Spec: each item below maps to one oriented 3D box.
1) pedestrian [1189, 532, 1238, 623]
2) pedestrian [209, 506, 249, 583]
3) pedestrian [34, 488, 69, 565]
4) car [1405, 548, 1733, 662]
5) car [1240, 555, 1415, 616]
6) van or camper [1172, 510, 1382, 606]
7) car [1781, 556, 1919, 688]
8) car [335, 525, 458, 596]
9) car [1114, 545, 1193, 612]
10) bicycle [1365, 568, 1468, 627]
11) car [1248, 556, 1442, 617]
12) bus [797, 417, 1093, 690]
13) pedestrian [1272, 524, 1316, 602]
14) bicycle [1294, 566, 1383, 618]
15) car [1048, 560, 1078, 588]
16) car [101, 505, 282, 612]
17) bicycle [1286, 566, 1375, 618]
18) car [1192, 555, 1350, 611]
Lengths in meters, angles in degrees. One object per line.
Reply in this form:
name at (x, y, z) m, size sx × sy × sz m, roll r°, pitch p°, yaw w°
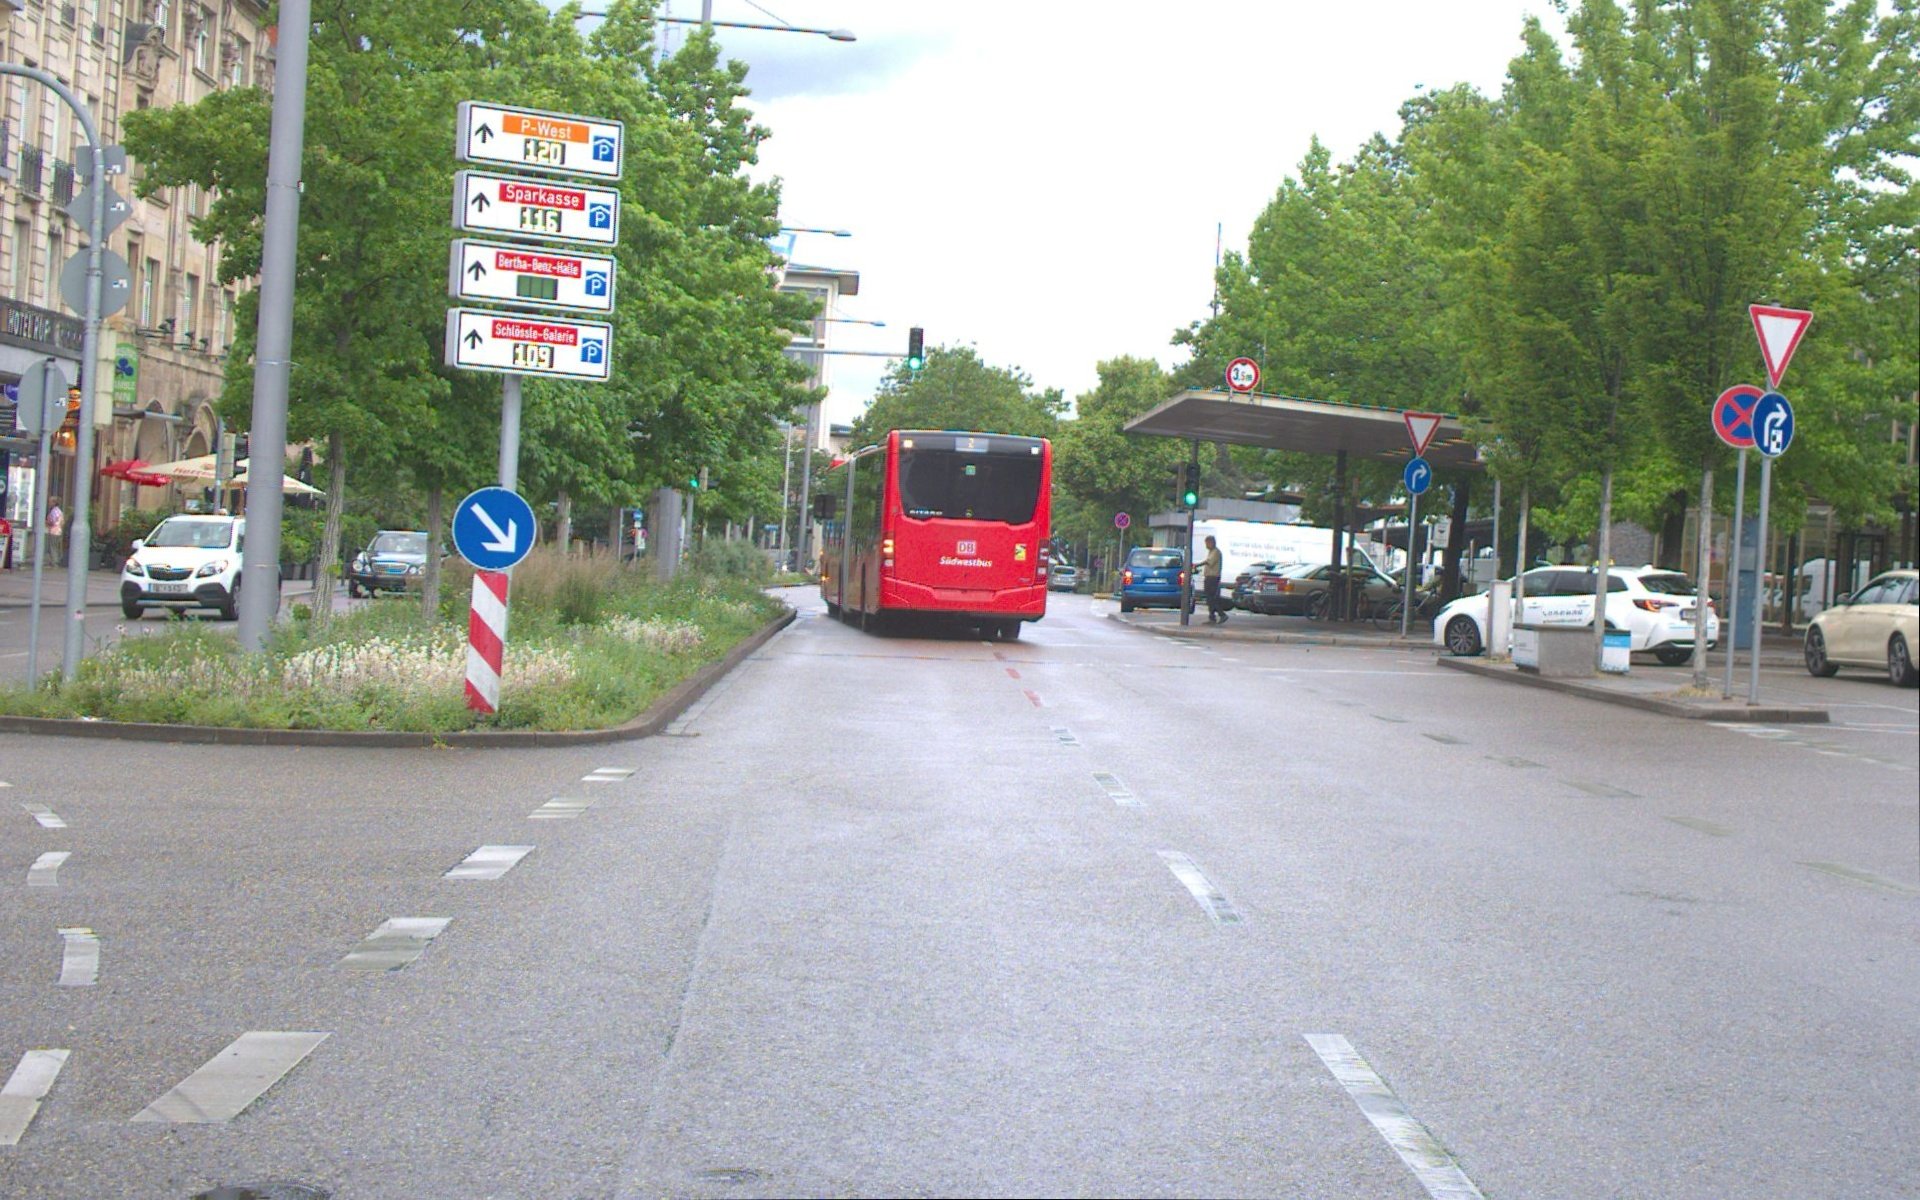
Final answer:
pedestrian at (4.925, -0.434, 66.878) m, size 0.746 × 1.741 × 0.836 m, roll 2°, pitch 0°, yaw -9°
pedestrian at (-15.898, -1.202, 74.772) m, size 0.681 × 1.658 × 0.807 m, roll 1°, pitch 0°, yaw 0°
pedestrian at (-19.706, -1.594, 74.579) m, size 0.666 × 1.658 × 0.537 m, roll 1°, pitch 0°, yaw -9°
car at (9.027, 0.052, 51.297) m, size 1.758 × 1.540 × 4.775 m, roll 2°, pitch 0°, yaw -40°
car at (9.193, -0.361, 85.992) m, size 3.986 × 1.354 × 1.865 m, roll 2°, pitch 0°, yaw -31°
van or camper at (9.488, -1.245, 102.785) m, size 5.945 × 2.753 × 2.199 m, roll 1°, pitch 1°, yaw -27°
car at (12.585, 0.258, 44.706) m, size 1.993 × 1.594 × 4.960 m, roll 1°, pitch 1°, yaw -8°
car at (-11.870, -0.831, 72.612) m, size 1.955 × 1.418 × 4.000 m, roll 1°, pitch 1°, yaw -1°
car at (4.813, -0.516, 85.429) m, size 1.859 × 1.564 × 3.999 m, roll 2°, pitch 0°, yaw 3°
bicycle at (8.366, -0.050, 63.036) m, size 1.827 × 1.052 × 0.420 m, roll 1°, pitch 0°, yaw -1°
car at (9.211, -0.322, 82.326) m, size 4.184 × 1.321 × 1.841 m, roll 2°, pitch 0°, yaw -20°
bus at (-0.474, -0.745, 56.125) m, size 3.544 × 3.966 × 11.174 m, roll 1°, pitch 1°, yaw -7°
pedestrian at (7.908, -0.869, 81.357) m, size 0.856 × 1.829 × 1.190 m, roll 1°, pitch 0°, yaw -1°
bicycle at (7.879, -0.164, 71.535) m, size 1.827 × 1.052 × 0.420 m, roll 1°, pitch 0°, yaw -18°
car at (6.182, -1.547, 206.820) m, size 1.644 × 1.655 × 3.650 m, roll 1°, pitch 1°, yaw 0°
car at (-12.138, -0.653, 54.564) m, size 1.955 × 1.612 × 4.208 m, roll 1°, pitch 1°, yaw -1°
bicycle at (7.762, -0.170, 71.982) m, size 1.827 × 1.052 × 0.420 m, roll 1°, pitch 0°, yaw -18°
car at (8.753, -0.475, 96.737) m, size 3.986 × 1.438 × 1.865 m, roll 2°, pitch 0°, yaw -27°
